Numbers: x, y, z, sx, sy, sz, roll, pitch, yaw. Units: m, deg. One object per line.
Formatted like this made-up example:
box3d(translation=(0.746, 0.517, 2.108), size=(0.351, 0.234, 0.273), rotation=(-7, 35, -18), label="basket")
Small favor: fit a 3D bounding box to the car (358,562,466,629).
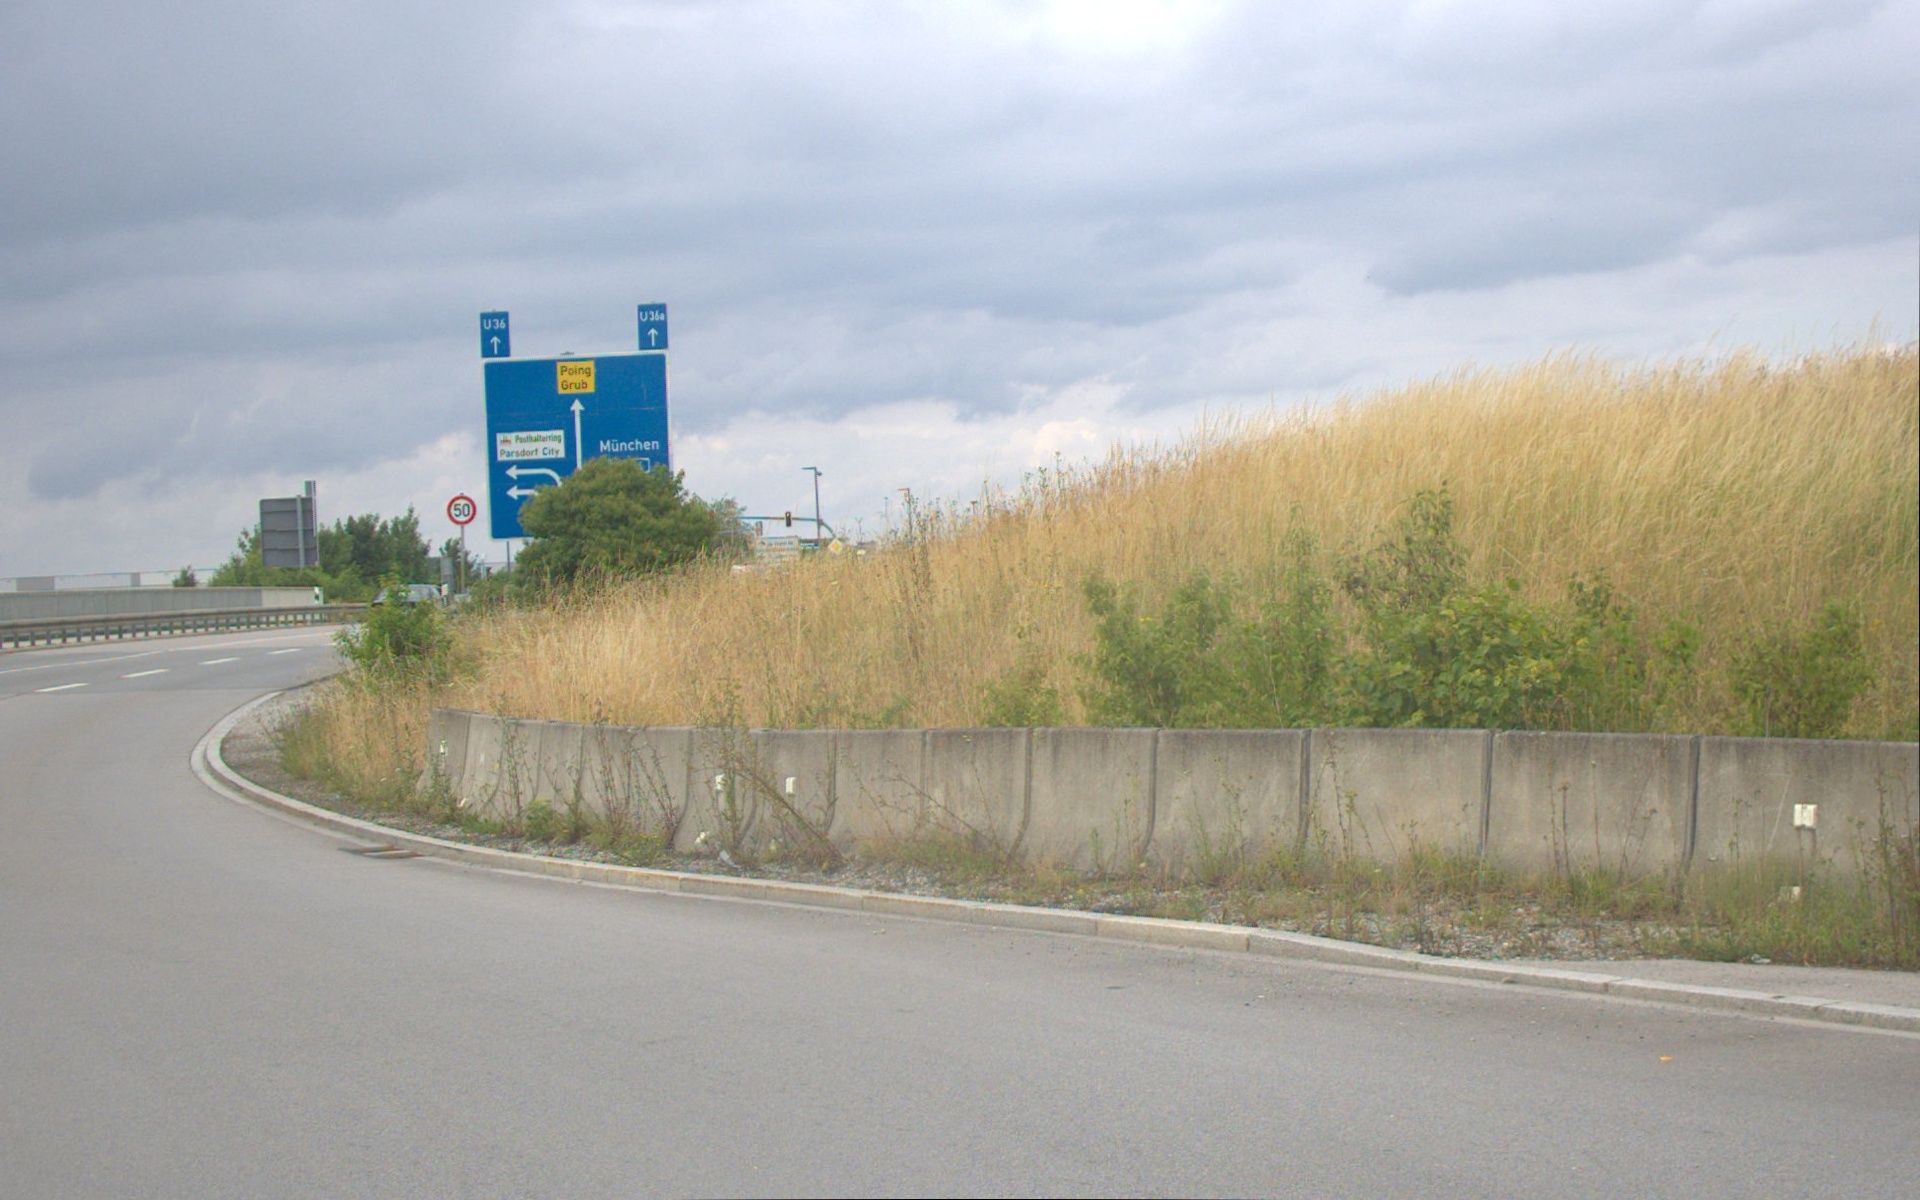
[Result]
box3d(translation=(-12.710, -0.113, 79.907), size=(1.518, 1.480, 3.614), rotation=(-2, 0, 7), label="car")
